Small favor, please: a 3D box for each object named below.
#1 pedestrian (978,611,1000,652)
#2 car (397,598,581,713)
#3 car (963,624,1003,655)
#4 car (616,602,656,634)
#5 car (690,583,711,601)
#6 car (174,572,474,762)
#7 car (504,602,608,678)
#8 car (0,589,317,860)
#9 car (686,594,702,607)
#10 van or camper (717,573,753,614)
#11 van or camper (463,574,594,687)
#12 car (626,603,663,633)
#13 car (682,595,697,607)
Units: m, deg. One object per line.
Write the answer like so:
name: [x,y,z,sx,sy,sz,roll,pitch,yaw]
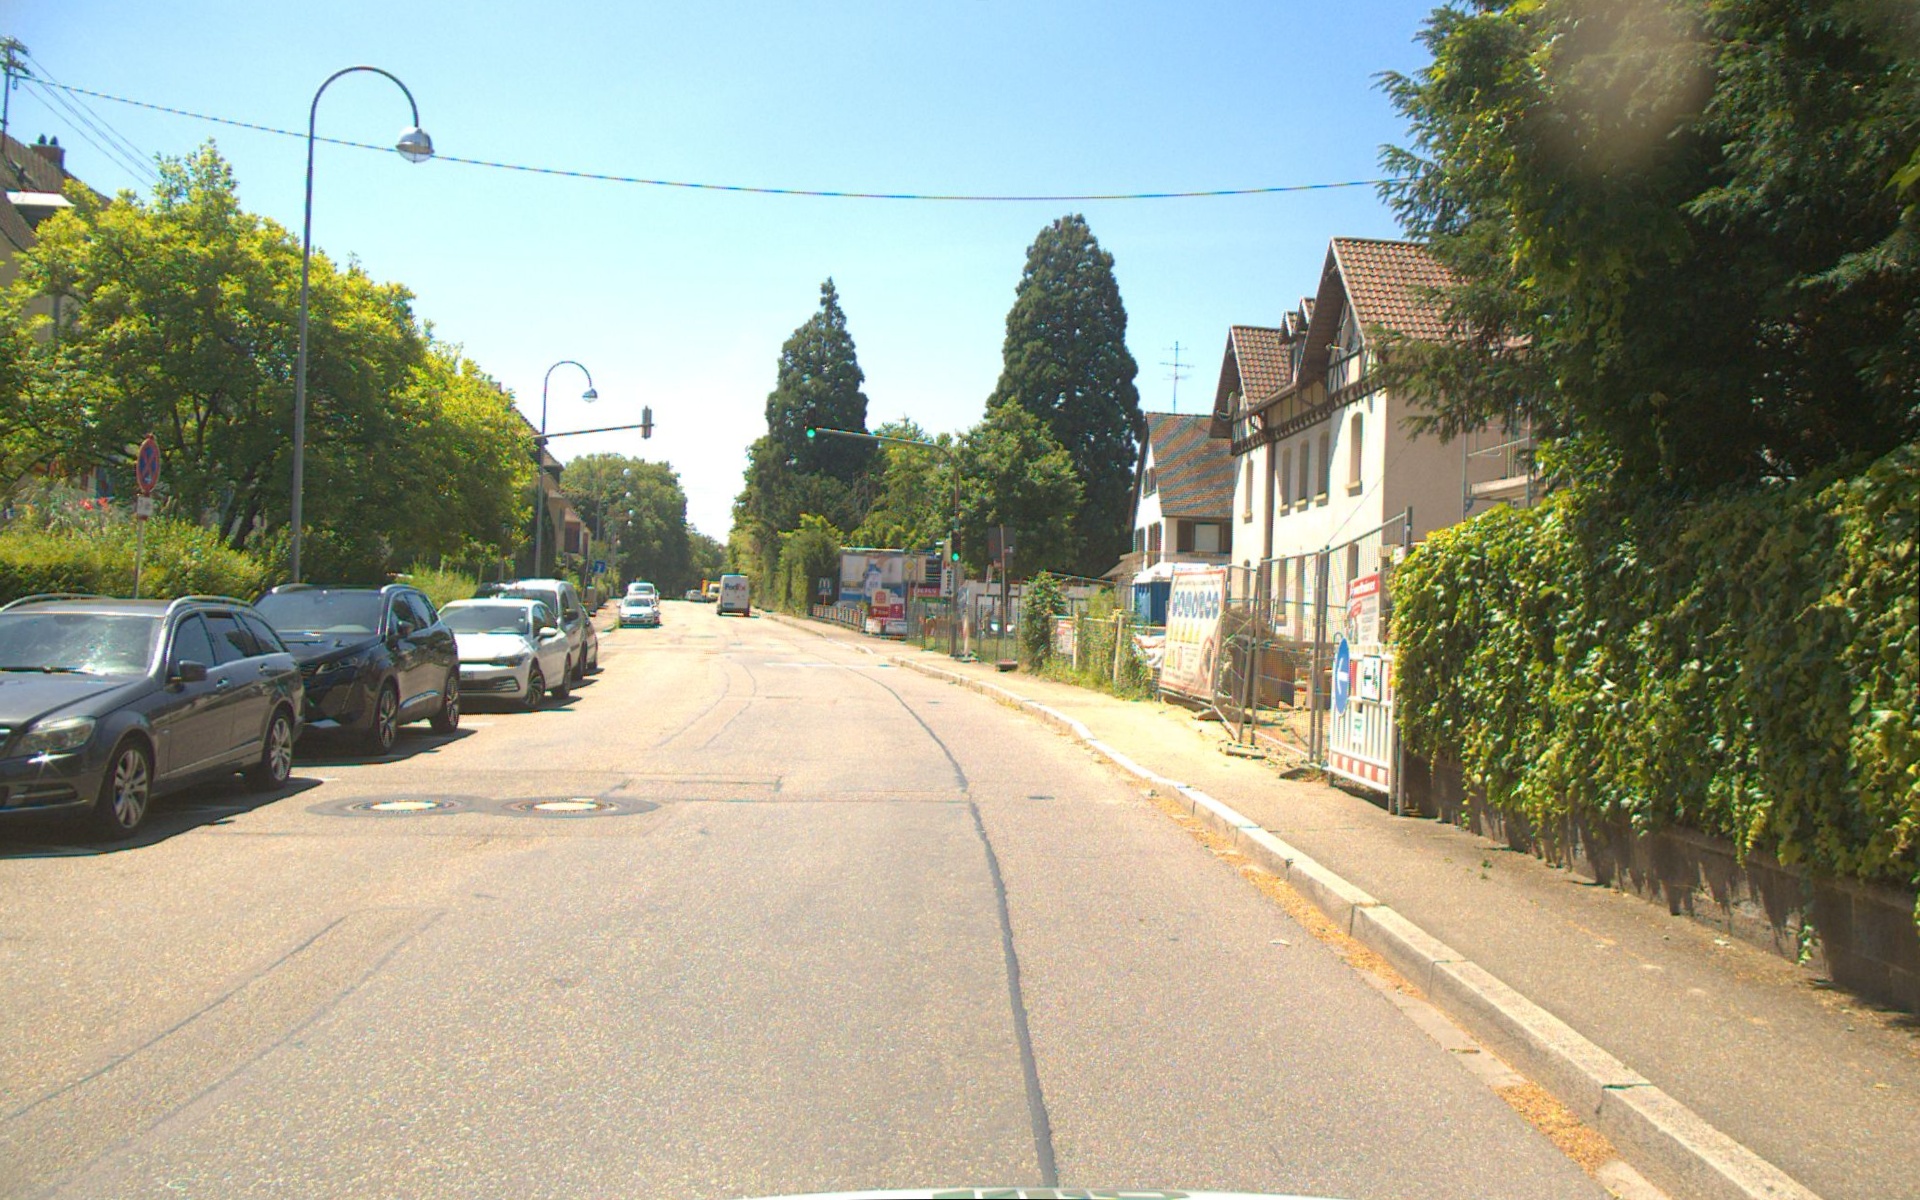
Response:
pedestrian: [1.183,1.274,67.427,0.683,1.628,0.571,3,-1,-10]
car: [-6.489,0.725,23.216,1.648,1.466,4.243,0,-1,-4]
car: [1.072,1.799,75.586,1.676,1.292,3.385,3,-1,2]
car: [-15.053,0.823,76.770,1.728,1.473,3.913,1,0,-12]
car: [-26.772,-0.819,170.477,1.958,1.691,3.989,2,-1,-11]
car: [-6.229,0.607,16.734,1.648,1.666,4.326,0,-1,-4]
car: [-8.073,0.780,33.315,1.649,1.437,3.919,0,-1,-8]
car: [-5.925,0.708,11.312,1.648,1.502,4.326,0,-1,-4]
car: [-36.900,0.102,229.108,1.958,1.691,3.989,2,-1,-11]
van or camper: [-14.582,-0.389,106.950,2.220,2.572,4.750,1,0,-9]
van or camper: [-7.468,0.515,28.958,1.649,1.836,3.980,0,-1,-6]
car: [-15.611,0.875,81.733,1.763,1.426,4.206,1,0,-12]
car: [-39.789,0.146,243.381,1.958,1.691,3.989,2,-1,-11]
